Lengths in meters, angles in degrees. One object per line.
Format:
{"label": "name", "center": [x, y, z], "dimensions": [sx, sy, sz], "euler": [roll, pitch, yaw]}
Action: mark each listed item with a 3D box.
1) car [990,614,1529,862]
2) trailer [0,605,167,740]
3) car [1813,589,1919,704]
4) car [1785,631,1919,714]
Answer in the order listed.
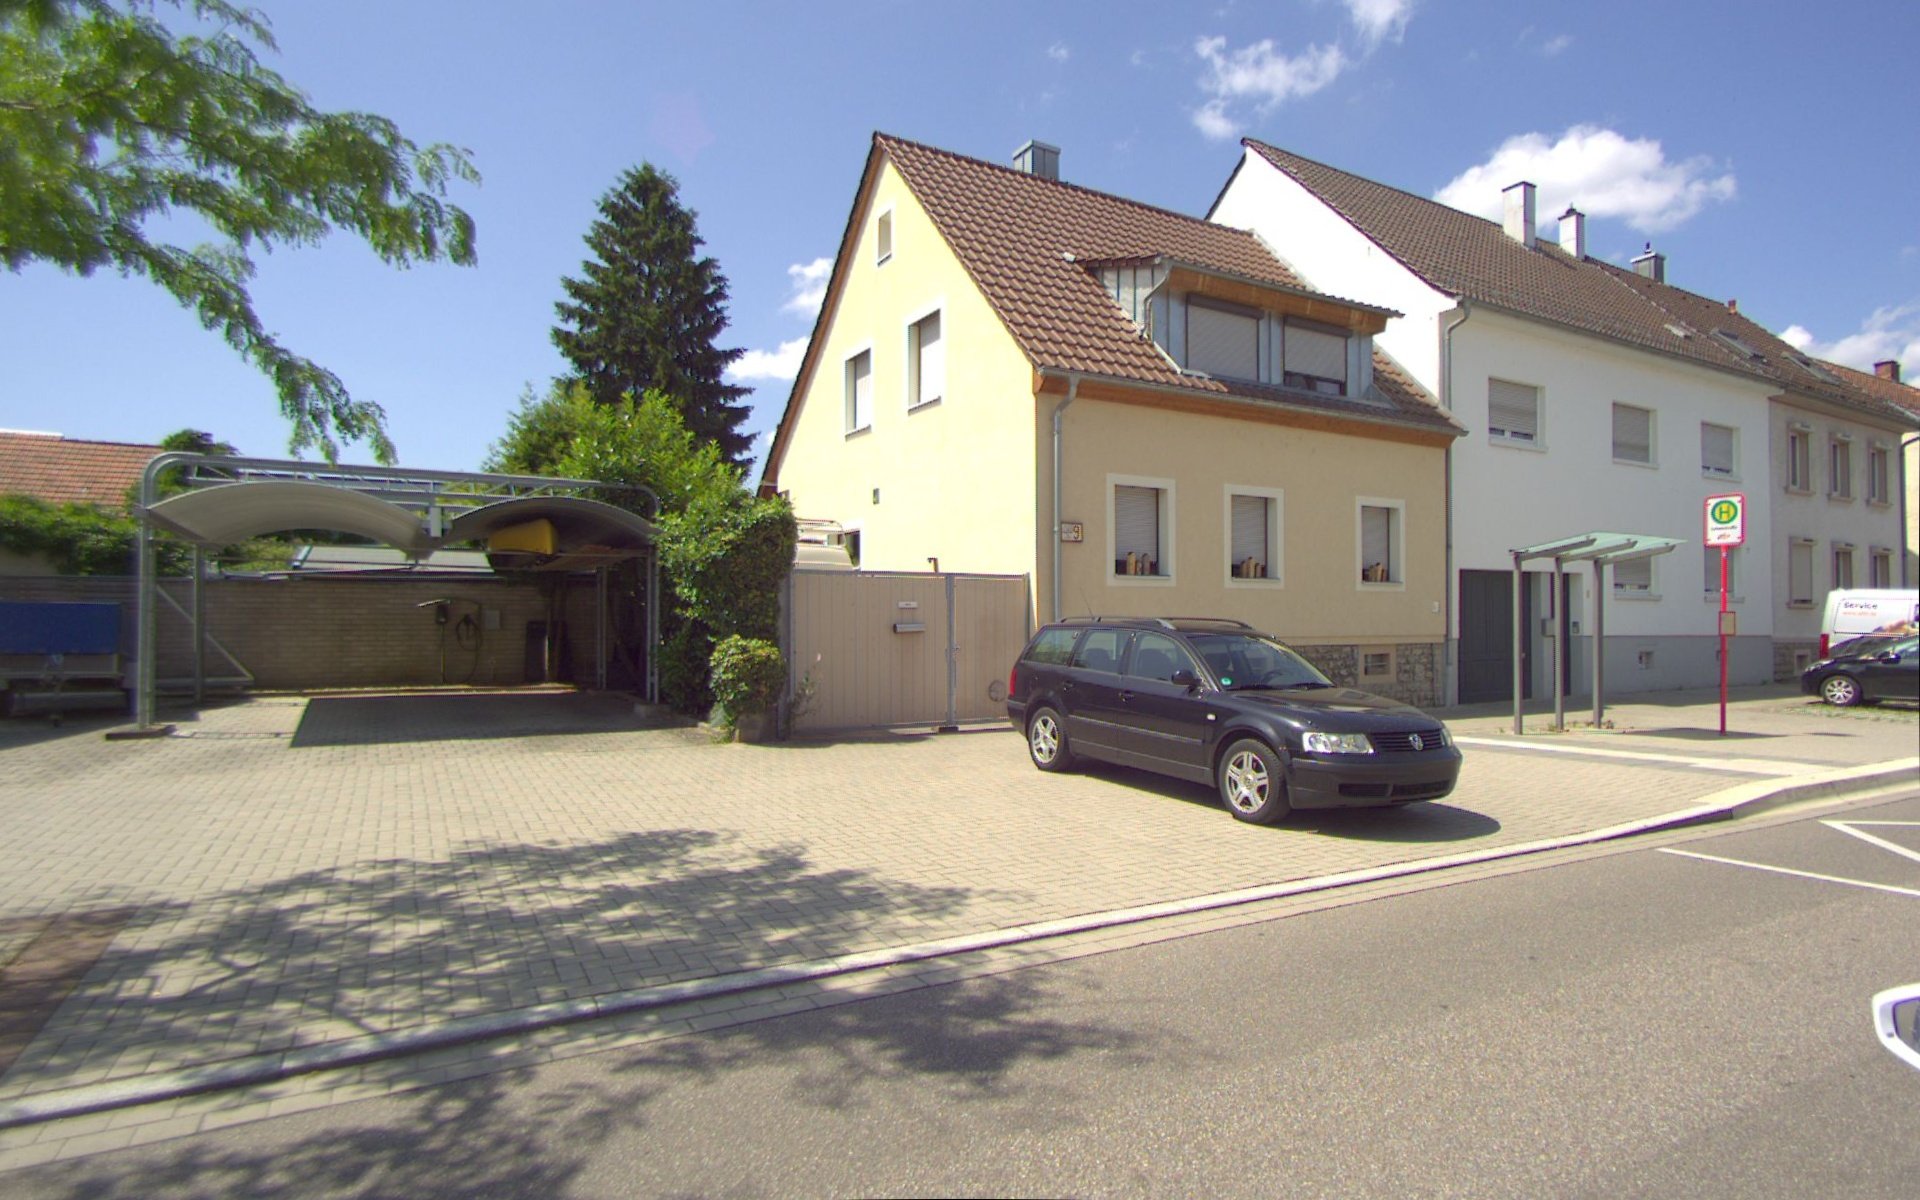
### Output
{"label": "car", "center": [2.233, 0.922, 8.868], "dimensions": [1.879, 1.537, 4.566], "euler": [1, -1, -29]}
{"label": "trailer", "center": [-11.157, 0.812, 12.655], "dimensions": [1.570, 1.407, 3.608], "euler": [2, 0, -35]}
{"label": "car", "center": [20.691, 0.968, 20.074], "dimensions": [2.133, 2.319, 5.139], "euler": [1, 0, -31]}
{"label": "car", "center": [18.129, 1.339, 18.669], "dimensions": [1.880, 1.465, 3.966], "euler": [1, -1, -32]}
